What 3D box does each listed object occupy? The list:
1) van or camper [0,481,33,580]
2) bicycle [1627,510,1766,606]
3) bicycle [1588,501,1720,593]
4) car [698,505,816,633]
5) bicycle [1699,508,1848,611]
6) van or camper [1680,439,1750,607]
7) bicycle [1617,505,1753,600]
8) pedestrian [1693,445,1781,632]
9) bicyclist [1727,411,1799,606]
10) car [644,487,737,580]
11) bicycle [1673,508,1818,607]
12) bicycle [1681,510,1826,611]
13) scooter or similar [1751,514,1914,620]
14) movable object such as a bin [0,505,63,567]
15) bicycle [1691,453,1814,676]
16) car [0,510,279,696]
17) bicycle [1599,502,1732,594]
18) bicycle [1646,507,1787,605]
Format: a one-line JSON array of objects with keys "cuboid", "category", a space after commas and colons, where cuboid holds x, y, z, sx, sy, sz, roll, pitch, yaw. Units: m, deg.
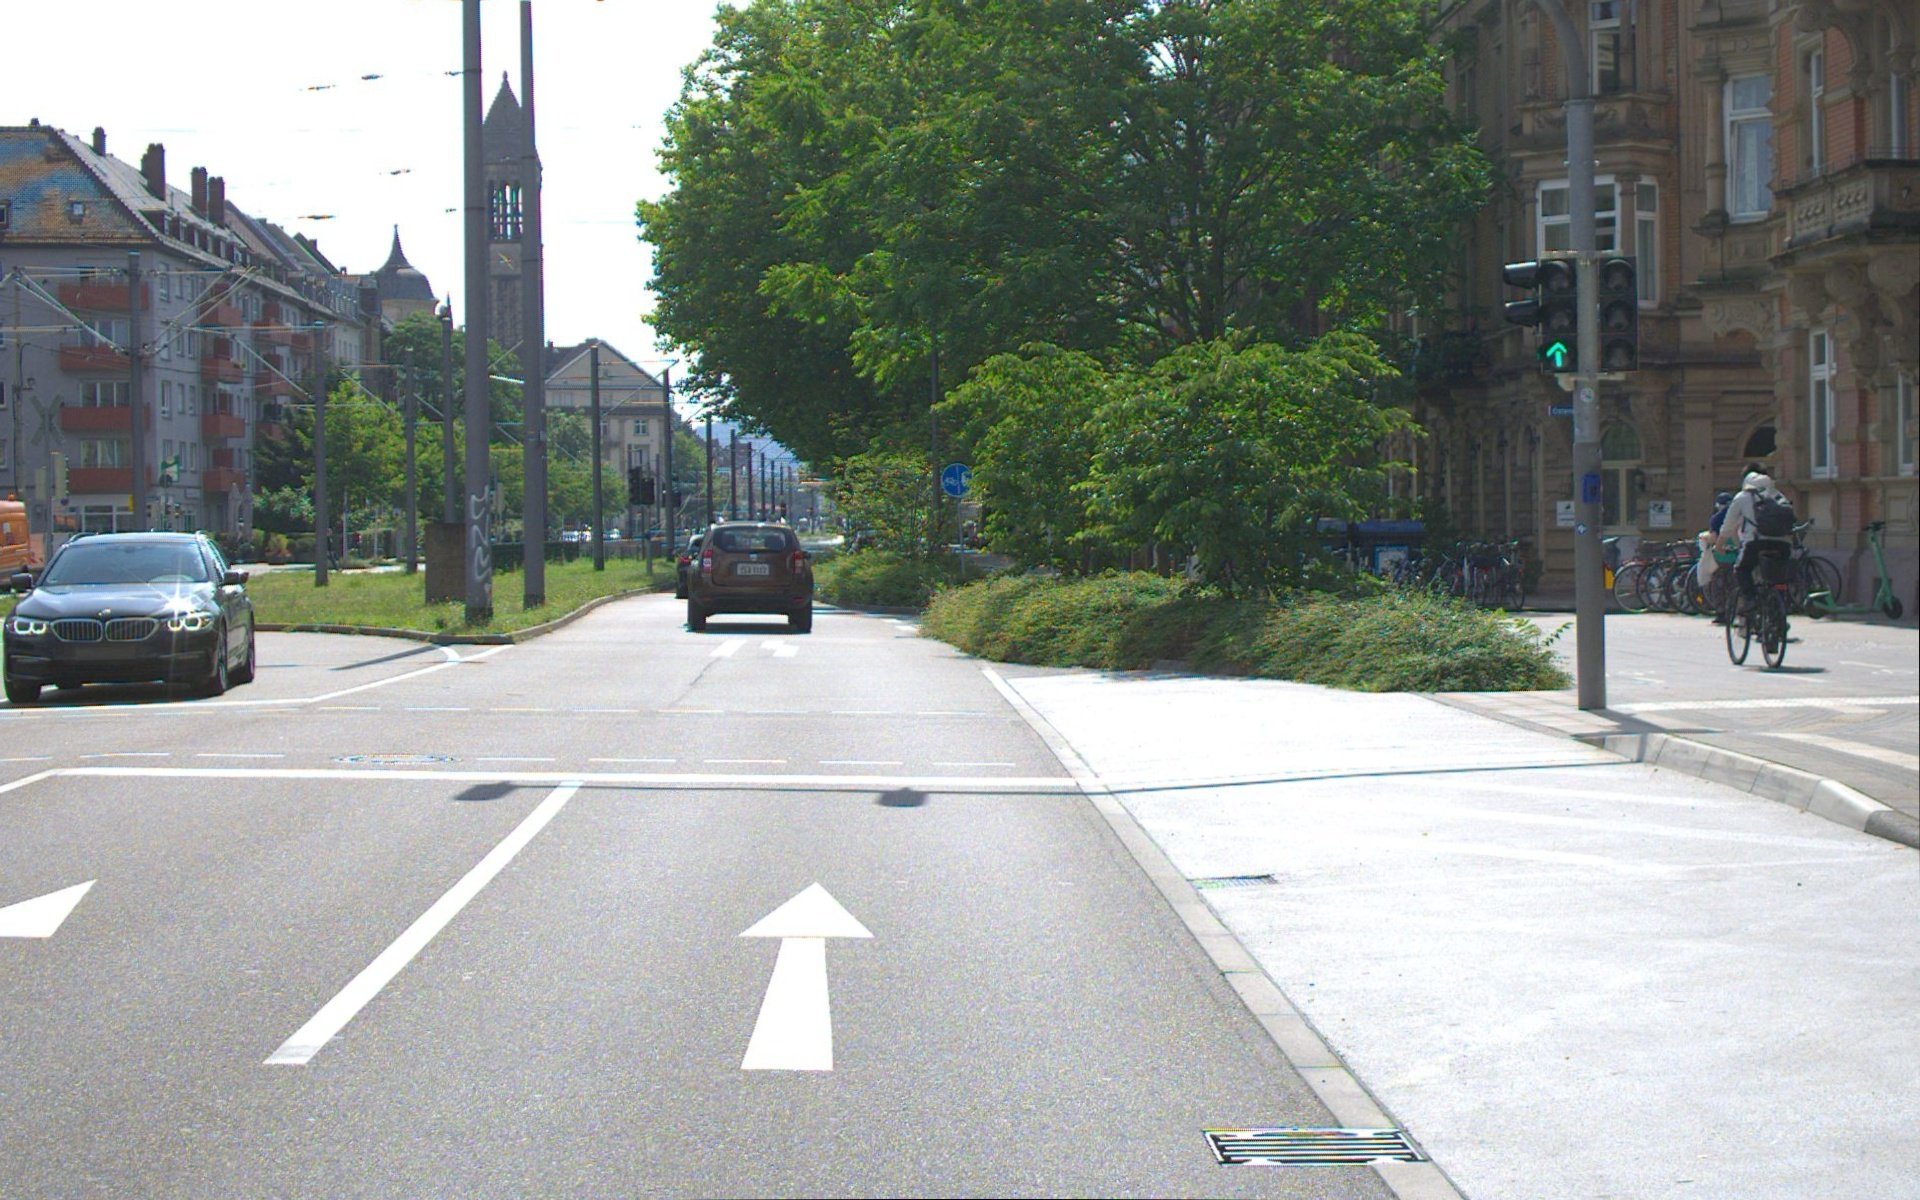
[{"cuboid": [-27.940, -1.948, 97.279, 2.255, 2.728, 6.205, -1, 1, -6], "category": "van or camper"}, {"cuboid": [9.926, -0.566, 46.379, 1.769, 1.263, 0.466, 0, 4, 2], "category": "bicycle"}, {"cuboid": [9.828, -0.755, 48.719, 1.769, 1.263, 0.466, 0, 4, 2], "category": "bicycle"}, {"cuboid": [-3.047, -0.504, 51.629, 1.688, 1.705, 3.610, -1, 4, -3], "category": "car"}, {"cuboid": [10.312, -0.515, 43.594, 1.769, 1.263, 0.466, 0, 4, 2], "category": "bicycle"}, {"cuboid": [9.145, -0.939, 41.674, 0.666, 2.007, 0.638, -1, 1, -1], "category": "van or camper"}, {"cuboid": [9.907, -0.646, 47.000, 1.769, 1.263, 0.466, 0, 4, 2], "category": "bicycle"}, {"cuboid": [8.459, -0.674, 37.440, 0.768, 2.007, 0.715, -1, 1, -1], "category": "pedestrian"}, {"cuboid": [7.159, -0.810, 30.677, 0.427, 1.713, 0.828, -1, 1, -1], "category": "bicyclist"}, {"cuboid": [-6.084, -1.510, 77.596, 1.993, 2.007, 4.001, -1, 1, -4], "category": "car"}, {"cuboid": [10.220, -0.557, 44.756, 1.769, 1.263, 0.466, 0, 4, 2], "category": "bicycle"}, {"cuboid": [10.181, -0.505, 44.131, 1.746, 1.263, 0.466, 0, 4, 2], "category": "bicycle"}, {"cuboid": [10.372, -0.393, 40.875, 1.769, 1.181, 0.466, -3, 1, -1], "category": "scooter or similar"}, {"cuboid": [-28.493, -1.926, 103.614, 2.206, 1.687, 3.718, -1, 4, -5], "category": "movable object such as a bin"}, {"cuboid": [7.060, -0.327, 30.675, 0.683, 1.919, 1.590, -1, 1, -1], "category": "bicycle"}, {"cuboid": [-7.444, -0.030, 31.417, 1.817, 1.546, 4.561, -1, 1, -4], "category": "car"}, {"cuboid": [9.864, -0.730, 48.082, 1.769, 1.263, 0.466, 0, 4, 2], "category": "bicycle"}, {"cuboid": [10.025, -0.586, 45.576, 1.769, 1.263, 0.466, 0, 4, 2], "category": "bicycle"}]
